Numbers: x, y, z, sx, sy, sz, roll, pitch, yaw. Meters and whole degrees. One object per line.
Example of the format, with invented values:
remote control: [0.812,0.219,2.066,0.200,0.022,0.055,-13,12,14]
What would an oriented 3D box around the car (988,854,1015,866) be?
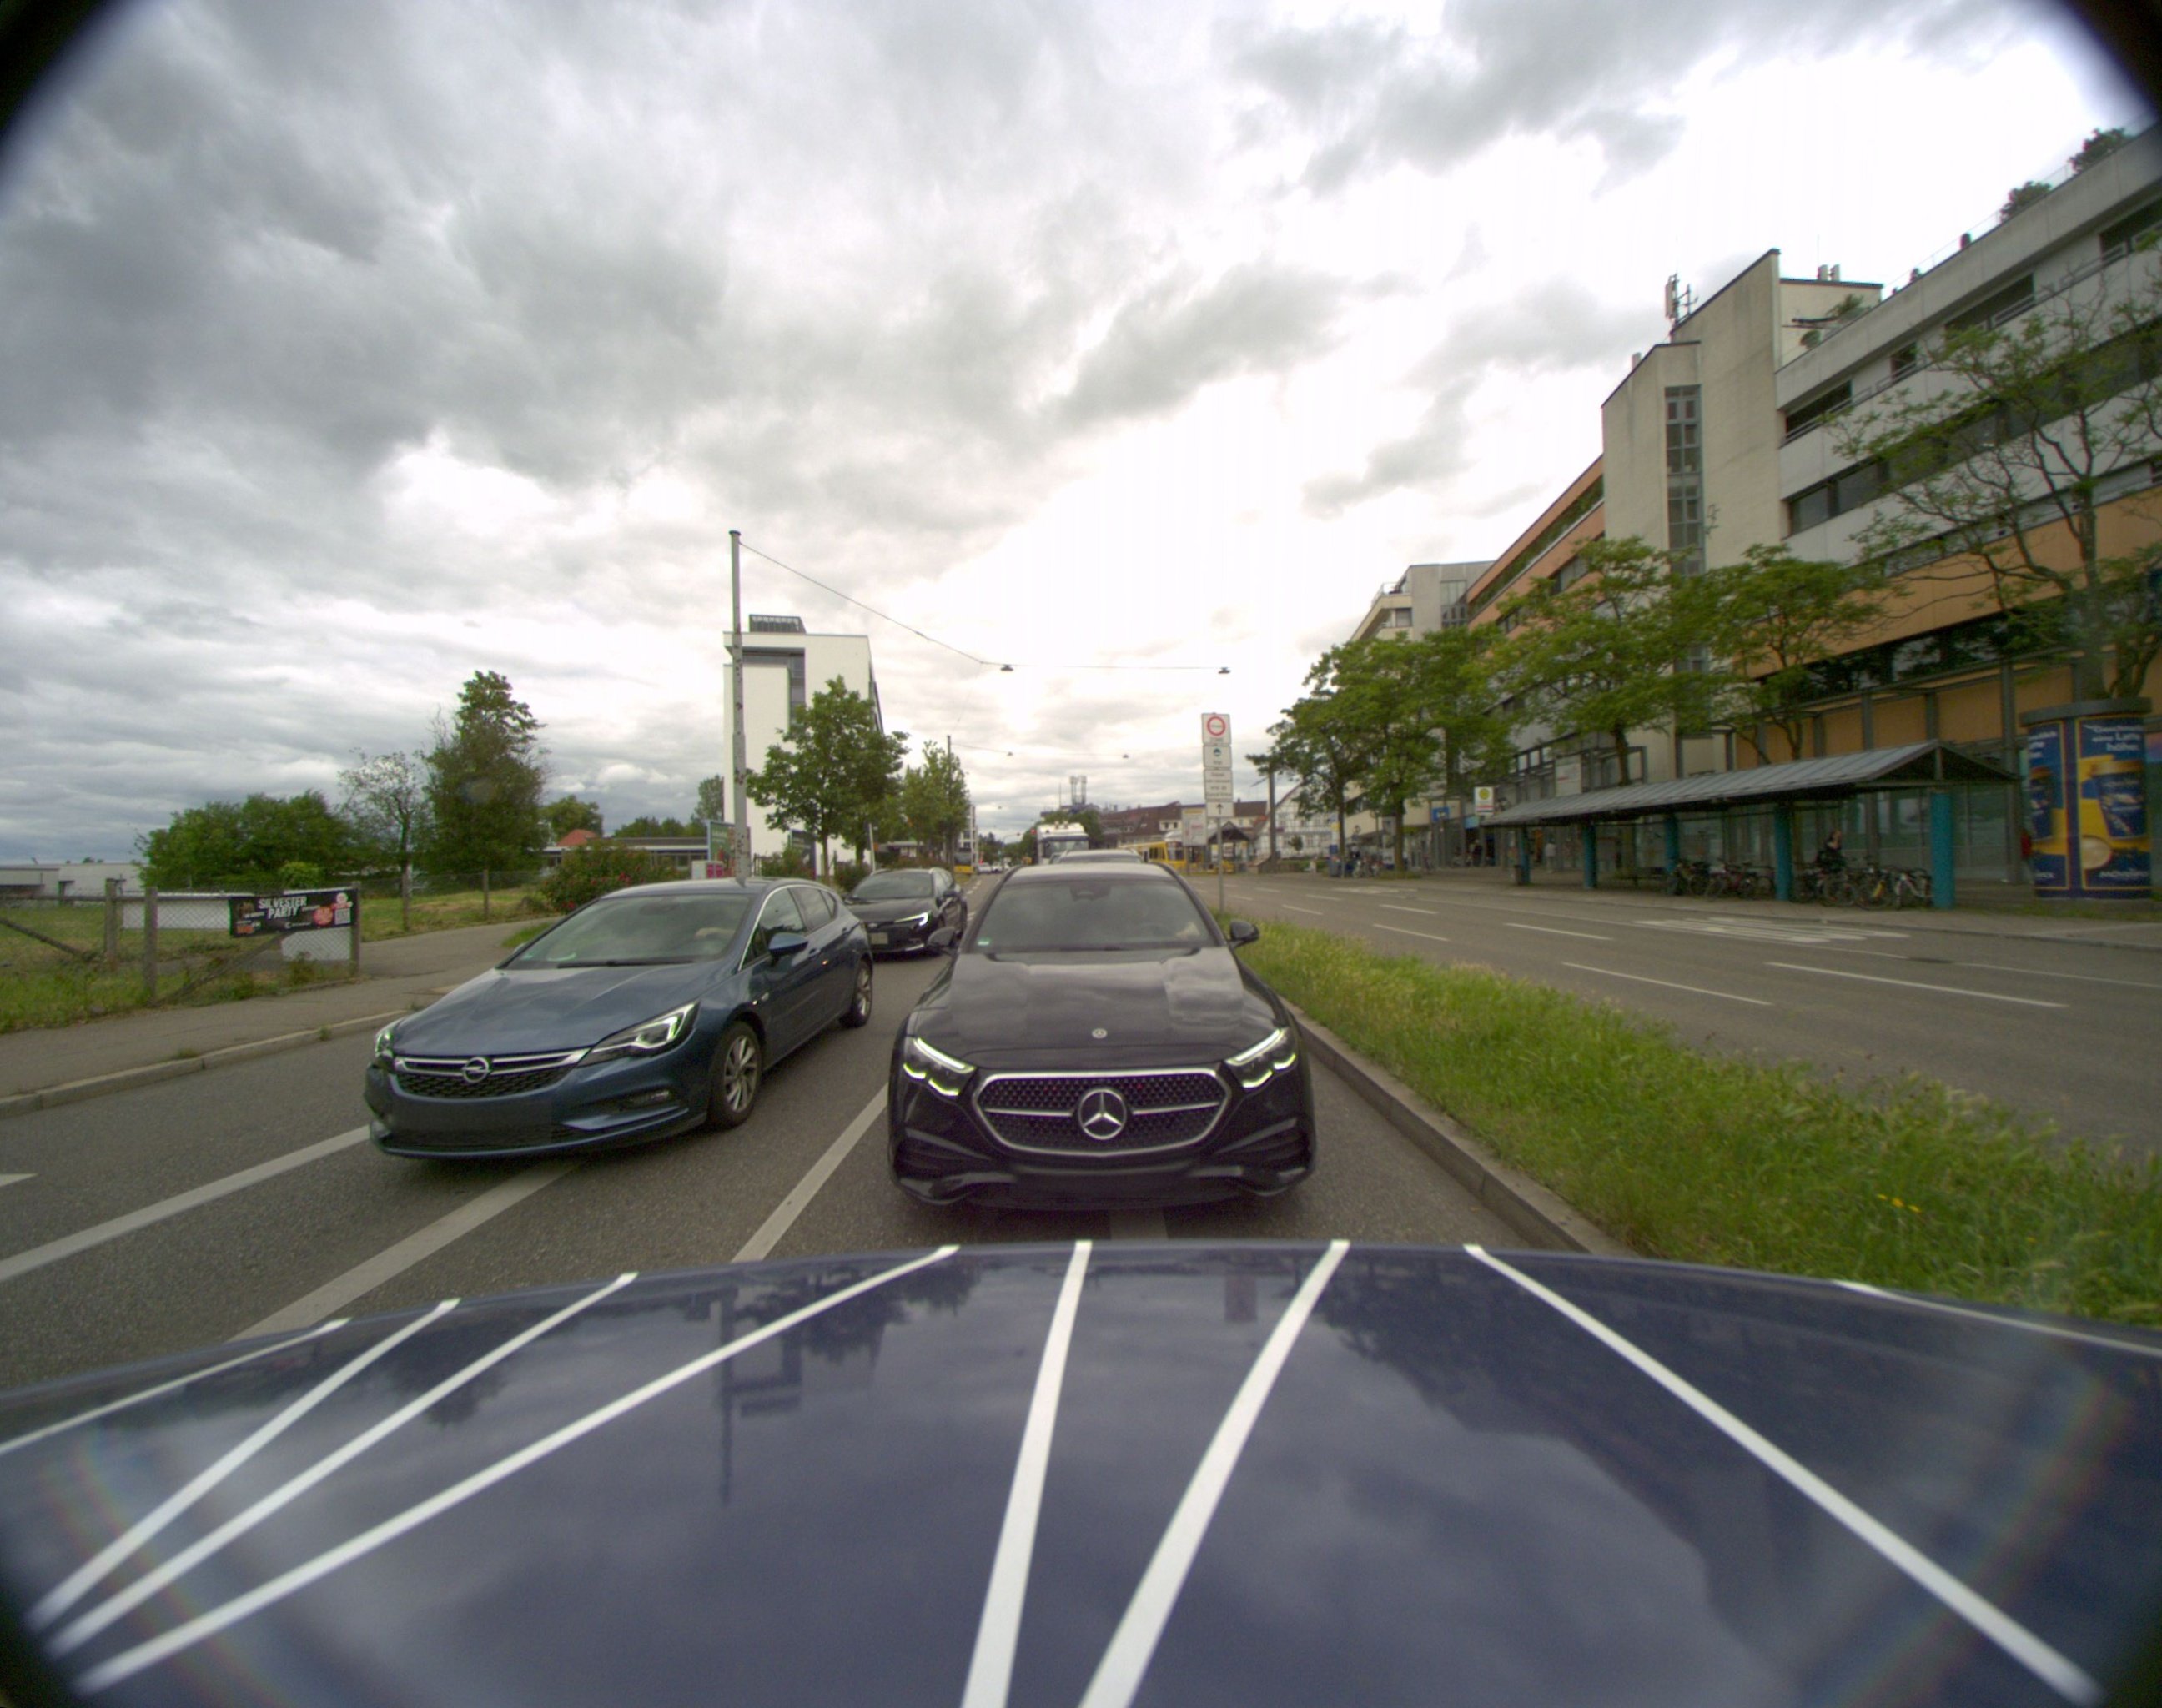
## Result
car: [-13.141,0.987,125.534,1.848,1.875,4.144,-2,1,41]

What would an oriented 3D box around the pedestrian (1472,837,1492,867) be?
pedestrian: [24.404,-0.133,46.245,0.765,1.835,0.752,-1,1,1]

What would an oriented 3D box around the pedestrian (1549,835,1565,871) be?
pedestrian: [24.097,-0.052,38.489,0.648,1.799,0.761,0,1,34]

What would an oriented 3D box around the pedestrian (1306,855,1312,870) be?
pedestrian: [18.108,0.686,60.346,0.341,1.172,0.369,-1,1,-9]

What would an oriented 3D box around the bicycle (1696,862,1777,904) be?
bicycle: [17.947,0.786,20.810,1.735,1.035,0.549,-3,1,-2]

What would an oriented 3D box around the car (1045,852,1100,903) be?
car: [-0.367,0.806,28.345,1.865,1.773,3.999,-1,0,-2]

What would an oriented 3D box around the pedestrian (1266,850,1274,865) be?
pedestrian: [19.243,0.375,77.499,0.577,1.533,0.583,-1,1,-8]

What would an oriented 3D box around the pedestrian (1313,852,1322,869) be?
pedestrian: [22.333,0.599,71.747,0.577,1.533,0.583,-1,1,-8]

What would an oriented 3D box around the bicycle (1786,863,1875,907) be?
bicycle: [19.025,0.770,19.308,1.735,1.035,0.549,-2,1,-2]

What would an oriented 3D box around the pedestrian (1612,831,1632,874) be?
pedestrian: [25.561,-0.065,35.908,0.566,2.002,0.611,-1,1,6]

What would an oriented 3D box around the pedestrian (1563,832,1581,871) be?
pedestrian: [25.453,-0.148,39.363,0.566,2.002,0.611,-1,1,6]

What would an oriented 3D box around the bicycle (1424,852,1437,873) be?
bicycle: [19.485,0.465,42.385,0.593,1.119,2.040,0,1,24]

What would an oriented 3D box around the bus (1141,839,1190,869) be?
bus: [8.695,0.003,79.014,2.556,2.966,8.498,-1,0,-11]

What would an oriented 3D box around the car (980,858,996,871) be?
car: [-12.697,1.410,103.690,1.853,1.606,3.779,-3,0,-10]

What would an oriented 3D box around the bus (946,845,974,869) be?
bus: [-15.227,0.346,95.048,2.969,2.616,12.911,-2,1,-11]

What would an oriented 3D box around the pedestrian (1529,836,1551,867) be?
pedestrian: [25.360,-0.137,42.025,0.765,1.673,0.752,-1,1,1]

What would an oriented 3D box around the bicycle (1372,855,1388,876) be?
bicycle: [16.400,0.619,41.646,0.593,1.071,2.041,0,1,29]

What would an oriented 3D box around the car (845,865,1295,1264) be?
car: [-0.052,0.881,5.189,1.793,1.507,4.249,-1,0,0]

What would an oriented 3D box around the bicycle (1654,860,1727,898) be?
bicycle: [18.204,0.744,22.703,1.735,1.035,0.549,-3,1,-2]

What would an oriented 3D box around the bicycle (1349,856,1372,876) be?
bicycle: [15.477,0.651,42.017,0.593,1.071,2.041,0,1,38]

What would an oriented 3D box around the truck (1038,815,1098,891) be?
truck: [-0.768,-0.045,36.723,2.490,3.258,7.428,-1,0,-4]

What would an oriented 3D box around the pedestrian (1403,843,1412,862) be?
pedestrian: [25.990,-0.148,60.474,0.555,1.485,0.454,-1,1,8]

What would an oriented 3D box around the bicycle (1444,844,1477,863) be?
bicycle: [27.754,-0.031,55.552,2.138,1.358,0.620,-2,1,26]

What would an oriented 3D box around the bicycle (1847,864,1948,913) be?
bicycle: [18.685,0.780,17.398,1.735,1.035,0.549,-2,1,-2]

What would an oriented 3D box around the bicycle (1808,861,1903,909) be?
bicycle: [18.626,0.748,18.283,1.735,1.035,0.549,-3,1,-2]

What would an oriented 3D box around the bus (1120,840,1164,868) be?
bus: [6.931,0.008,87.951,2.556,2.966,9.790,-1,0,-11]

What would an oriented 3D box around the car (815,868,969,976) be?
car: [-3.088,1.048,13.241,1.665,1.448,3.921,-2,0,0]

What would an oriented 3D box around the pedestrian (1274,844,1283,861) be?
pedestrian: [23.448,-0.198,90.063,0.879,2.002,1.010,-1,1,6]

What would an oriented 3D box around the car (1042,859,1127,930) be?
car: [0.044,0.908,18.908,1.865,1.520,3.999,-1,0,-1]

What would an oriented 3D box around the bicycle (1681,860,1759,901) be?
bicycle: [18.283,0.739,21.743,1.735,1.035,0.549,-4,1,-2]

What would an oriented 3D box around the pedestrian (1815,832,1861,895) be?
pedestrian: [21.822,0.279,21.909,0.531,1.776,0.770,-1,1,-7]

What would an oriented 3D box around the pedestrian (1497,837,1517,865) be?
pedestrian: [25.275,-0.170,45.059,0.765,1.673,0.752,-1,1,1]

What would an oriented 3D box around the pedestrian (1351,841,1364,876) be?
pedestrian: [18.056,0.277,49.644,0.590,2.294,0.608,-1,1,-2]

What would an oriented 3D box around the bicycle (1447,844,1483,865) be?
bicycle: [26.992,0.027,53.400,2.139,1.367,0.620,-2,1,18]

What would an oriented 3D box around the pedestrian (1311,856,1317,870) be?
pedestrian: [18.505,0.708,60.389,0.341,1.172,0.369,-1,1,-9]

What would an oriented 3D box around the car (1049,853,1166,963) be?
car: [0.392,0.818,13.481,1.734,1.601,4.000,-2,0,0]

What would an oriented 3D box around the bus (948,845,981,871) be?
bus: [-12.820,0.391,82.725,2.969,2.616,12.137,-2,1,-11]

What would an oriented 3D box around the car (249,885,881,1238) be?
car: [-2.913,1.047,5.525,1.826,1.402,4.000,-2,0,0]
